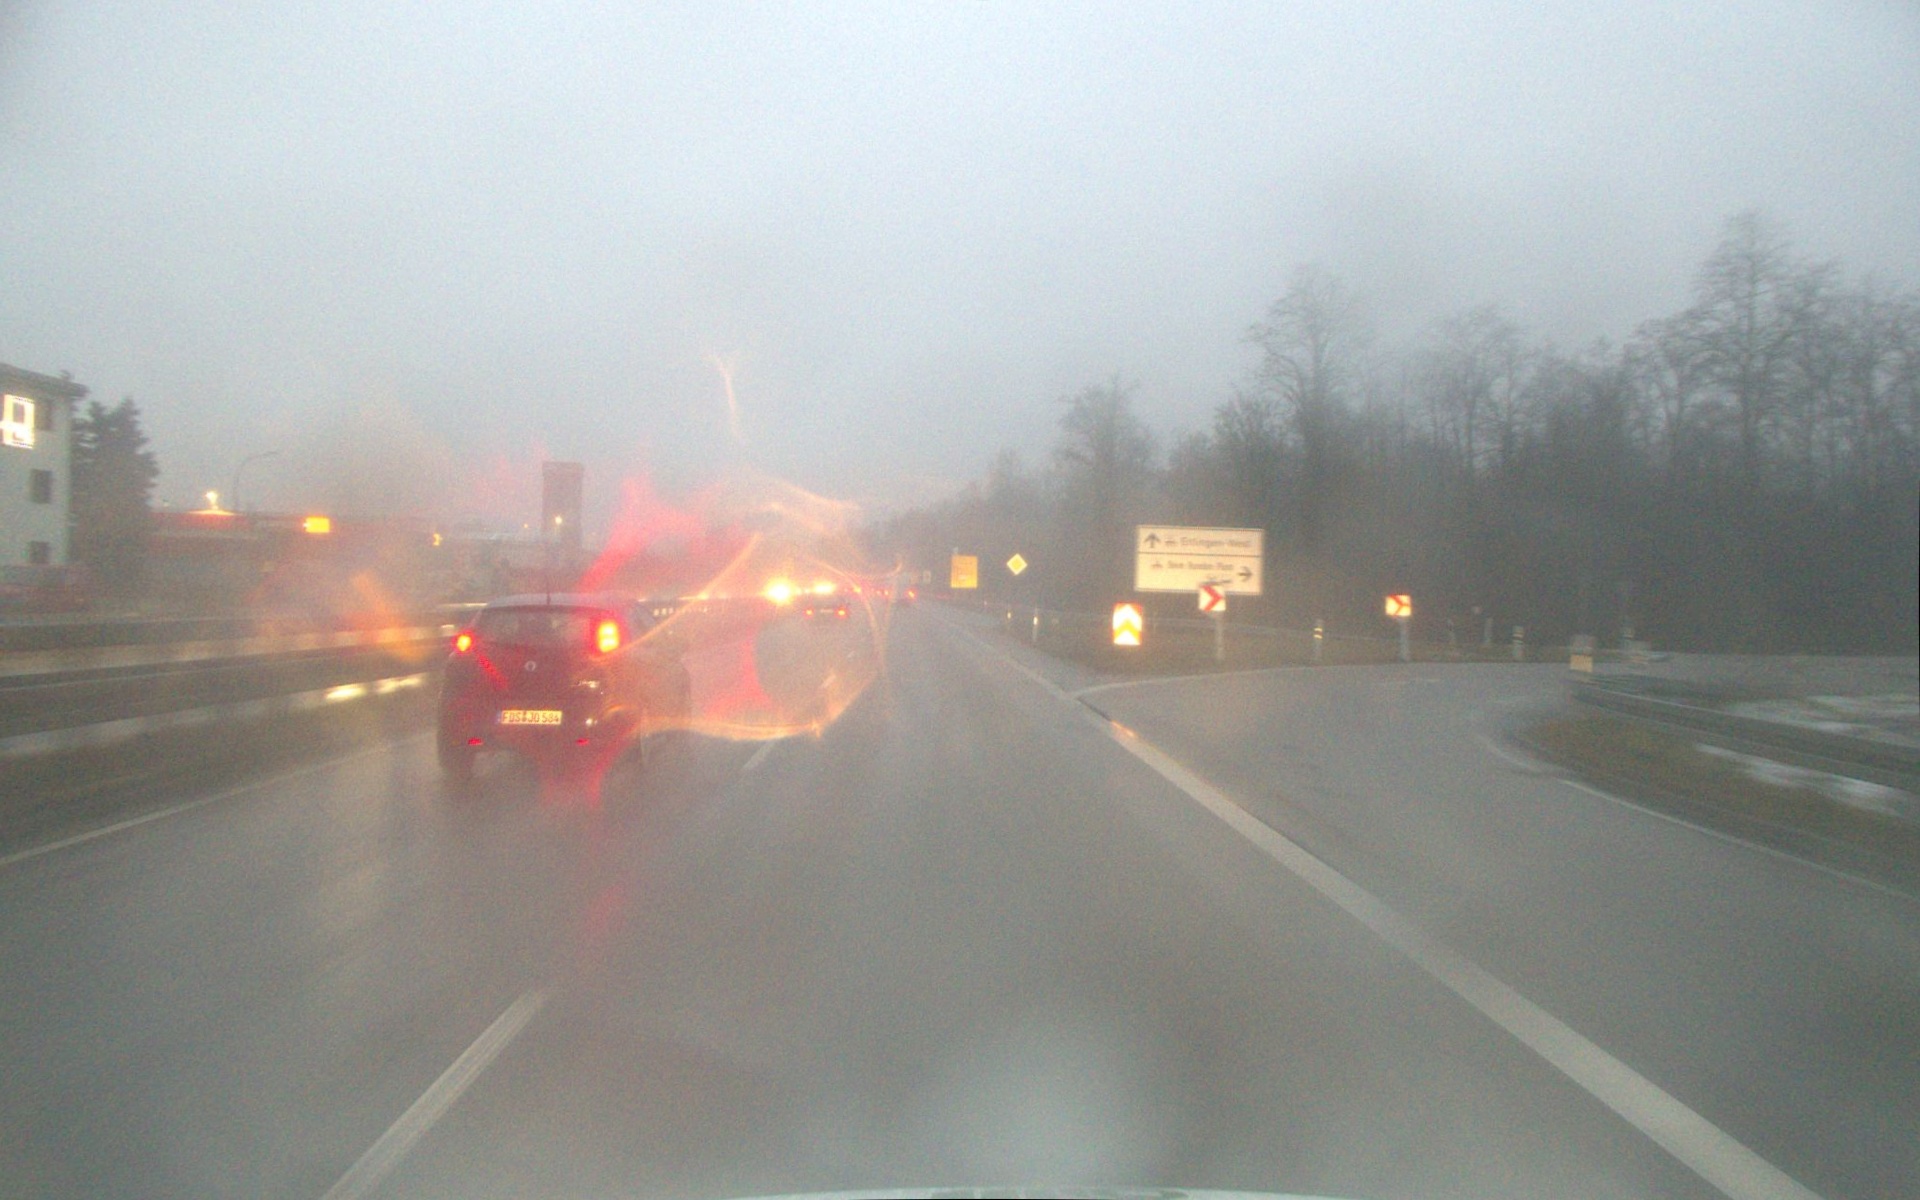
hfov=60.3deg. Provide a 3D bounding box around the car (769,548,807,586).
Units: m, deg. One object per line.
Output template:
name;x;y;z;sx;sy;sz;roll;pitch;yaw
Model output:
car;-10.220;-1.943;98.138;2.083;2.157;3.569;1;0;-7

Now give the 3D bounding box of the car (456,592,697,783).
car;-3.386;0.703;15.150;1.497;1.440;3.477;3;1;-3

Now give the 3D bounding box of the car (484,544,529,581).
car;-24.356;-2.010;88.937;1.856;1.853;3.865;3;0;-9

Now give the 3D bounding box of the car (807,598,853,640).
car;-5.073;0.723;64.945;1.741;1.561;4.699;0;0;-4

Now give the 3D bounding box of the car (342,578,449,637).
car;-14.479;0.167;42.577;1.577;1.424;3.619;1;1;-1
